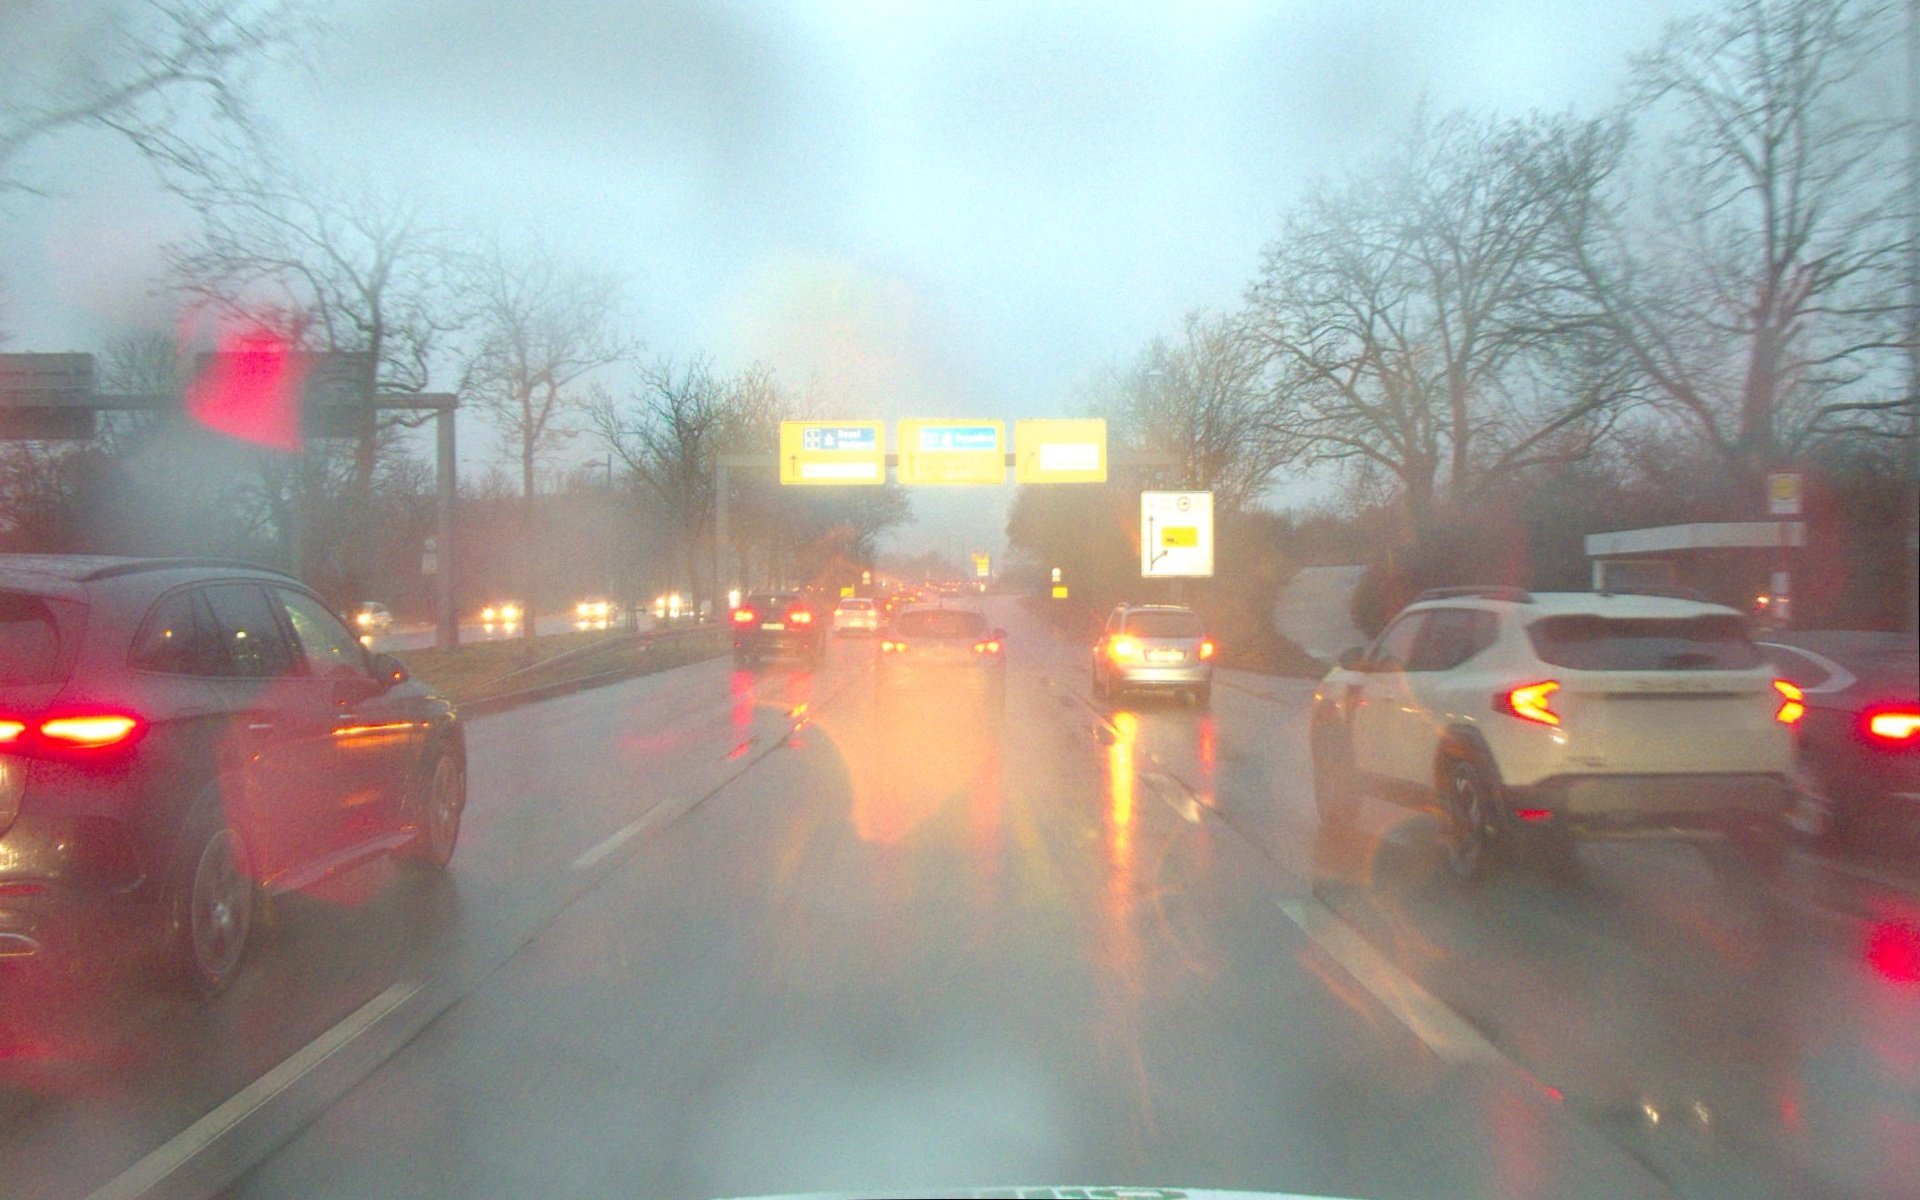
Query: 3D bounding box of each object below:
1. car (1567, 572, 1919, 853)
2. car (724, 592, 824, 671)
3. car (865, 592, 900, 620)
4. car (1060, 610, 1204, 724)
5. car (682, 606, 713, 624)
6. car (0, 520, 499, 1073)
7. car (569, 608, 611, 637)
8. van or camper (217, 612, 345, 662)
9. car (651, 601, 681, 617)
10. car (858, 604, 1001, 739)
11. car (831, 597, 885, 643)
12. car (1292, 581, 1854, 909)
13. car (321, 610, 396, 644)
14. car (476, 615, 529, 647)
[{"bbox_3d":[6.345,0.644,12.054,1.928,1.648,4.544,-2,0,-3],"label":"car"},{"bbox_3d":[-4.159,0.688,37.568,1.785,1.677,4.000,0,0,0],"label":"car"},{"bbox_3d":[-3.805,0.305,81.591,1.474,1.362,4.000,0,0,0],"label":"car"},{"bbox_3d":[2.728,1.040,27.189,1.893,1.677,4.466,1,-1,0],"label":"car"},{"bbox_3d":[-19.930,1.158,125.602,1.716,1.331,4.315,0,0,-1],"label":"car"},{"bbox_3d":[-3.487,0.613,7.235,1.785,1.677,4.465,0,0,-1],"label":"car"},{"bbox_3d":[-21.660,1.299,96.993,1.749,1.655,3.573,0,0,-2],"label":"car"},{"bbox_3d":[-21.017,1.117,51.452,1.865,1.472,5.157,0,0,0],"label":"van or camper"},{"bbox_3d":[-24.616,0.732,138.628,1.716,1.331,4.315,0,0,-1],"label":"car"},{"bbox_3d":[-0.377,0.943,23.285,1.785,1.677,4.466,1,-1,0],"label":"car"},{"bbox_3d":[-3.877,0.736,63.124,1.785,1.677,4.000,0,0,0],"label":"car"},{"bbox_3d":[3.580,0.745,10.647,1.779,1.646,4.408,0,0,-3],"label":"car"},{"bbox_3d":[-28.068,1.225,77.317,1.952,1.503,4.072,0,0,1],"label":"car"},{"bbox_3d":[-28.223,1.869,102.134,1.952,1.883,4.427,0,0,1],"label":"car"}]
